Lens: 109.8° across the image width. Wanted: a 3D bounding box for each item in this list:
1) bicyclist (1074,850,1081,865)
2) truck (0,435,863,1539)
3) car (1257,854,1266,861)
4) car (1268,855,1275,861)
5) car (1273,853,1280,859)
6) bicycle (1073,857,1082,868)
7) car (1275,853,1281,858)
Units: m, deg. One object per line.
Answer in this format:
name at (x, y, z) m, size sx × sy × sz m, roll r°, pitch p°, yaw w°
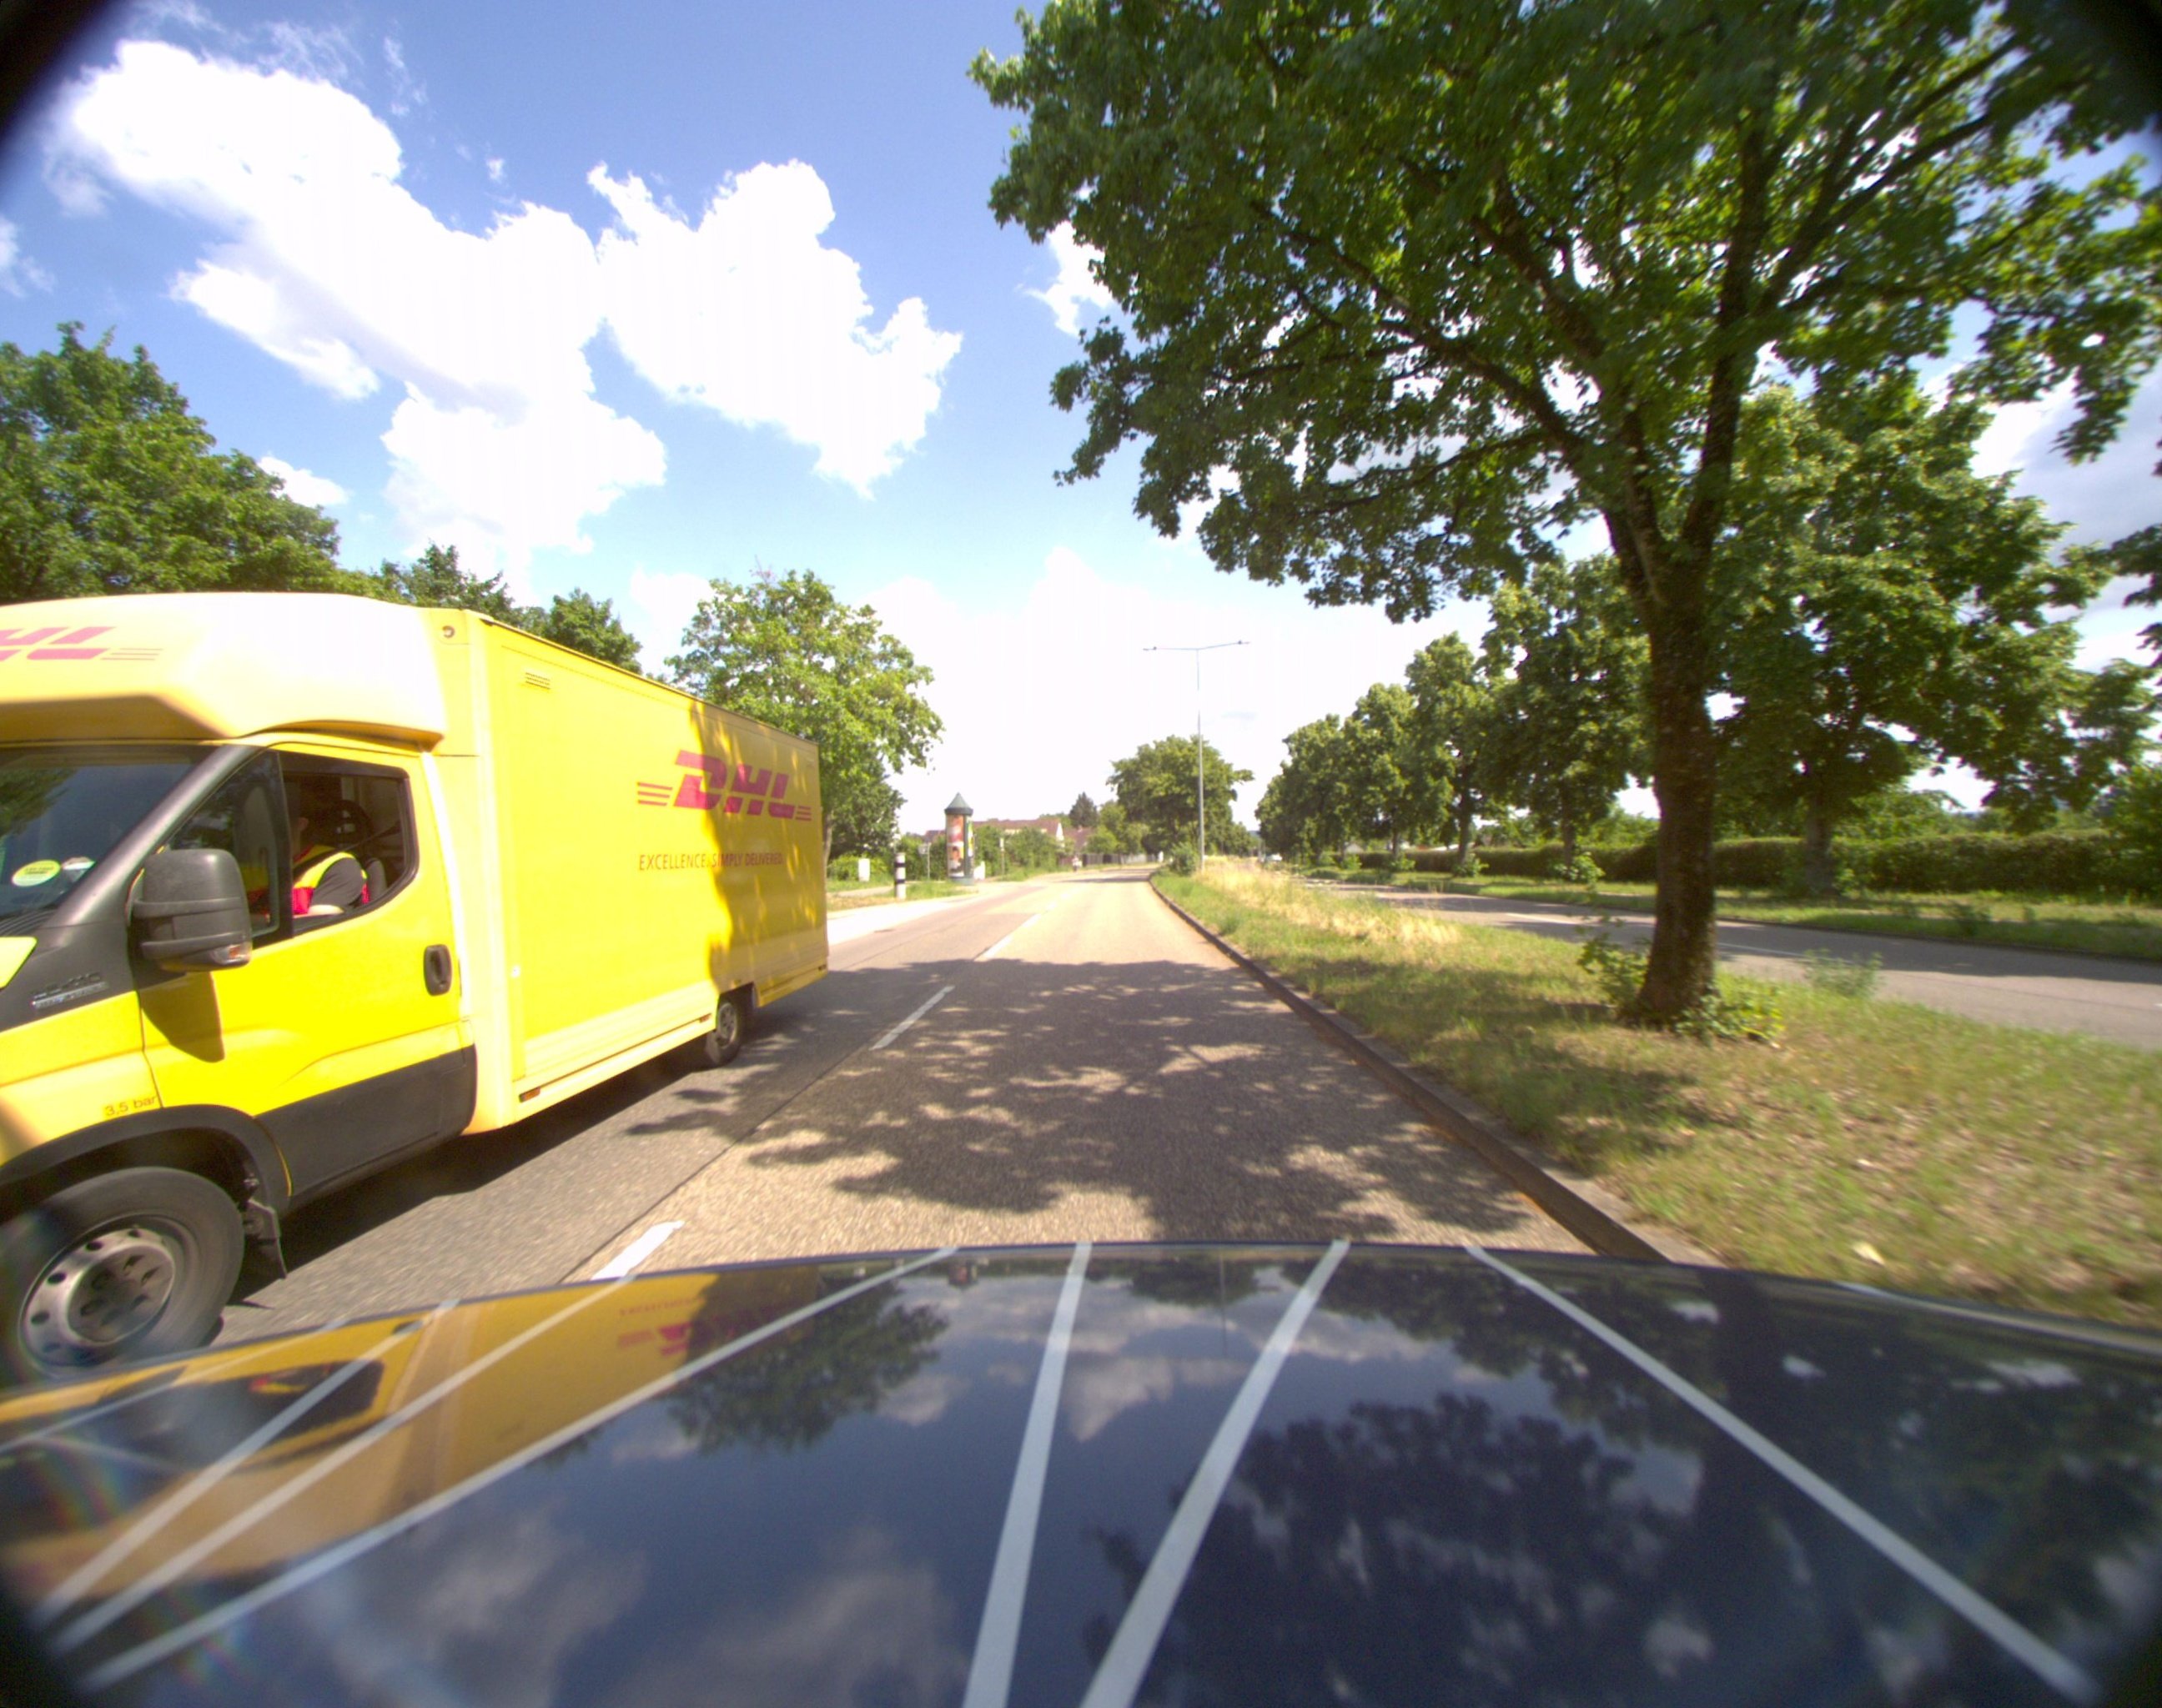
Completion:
bicyclist at (-0.368, 0.385, 82.626) m, size 0.620 × 1.625 × 0.700 m, roll -1°, pitch 0°, yaw 8°
truck at (-3.886, 0.374, 5.082) m, size 2.270 × 2.863 × 8.028 m, roll -2°, pitch 0°, yaw 1°
car at (43.538, 0.896, 183.269) m, size 1.739 × 1.577 × 4.117 m, roll 1°, pitch 0°, yaw 16°
car at (53.279, 1.040, 212.139) m, size 1.738 × 1.577 × 4.118 m, roll 1°, pitch 0°, yaw 18°
car at (57.847, 0.636, 224.969) m, size 1.738 × 1.577 × 4.118 m, roll 1°, pitch 0°, yaw 18°
bicycle at (-0.372, 0.876, 82.569) m, size 0.626 × 1.145 × 1.740 m, roll -1°, pitch 0°, yaw 8°
car at (65.111, 0.593, 251.243) m, size 1.738 × 1.577 × 4.118 m, roll 1°, pitch 0°, yaw 18°
